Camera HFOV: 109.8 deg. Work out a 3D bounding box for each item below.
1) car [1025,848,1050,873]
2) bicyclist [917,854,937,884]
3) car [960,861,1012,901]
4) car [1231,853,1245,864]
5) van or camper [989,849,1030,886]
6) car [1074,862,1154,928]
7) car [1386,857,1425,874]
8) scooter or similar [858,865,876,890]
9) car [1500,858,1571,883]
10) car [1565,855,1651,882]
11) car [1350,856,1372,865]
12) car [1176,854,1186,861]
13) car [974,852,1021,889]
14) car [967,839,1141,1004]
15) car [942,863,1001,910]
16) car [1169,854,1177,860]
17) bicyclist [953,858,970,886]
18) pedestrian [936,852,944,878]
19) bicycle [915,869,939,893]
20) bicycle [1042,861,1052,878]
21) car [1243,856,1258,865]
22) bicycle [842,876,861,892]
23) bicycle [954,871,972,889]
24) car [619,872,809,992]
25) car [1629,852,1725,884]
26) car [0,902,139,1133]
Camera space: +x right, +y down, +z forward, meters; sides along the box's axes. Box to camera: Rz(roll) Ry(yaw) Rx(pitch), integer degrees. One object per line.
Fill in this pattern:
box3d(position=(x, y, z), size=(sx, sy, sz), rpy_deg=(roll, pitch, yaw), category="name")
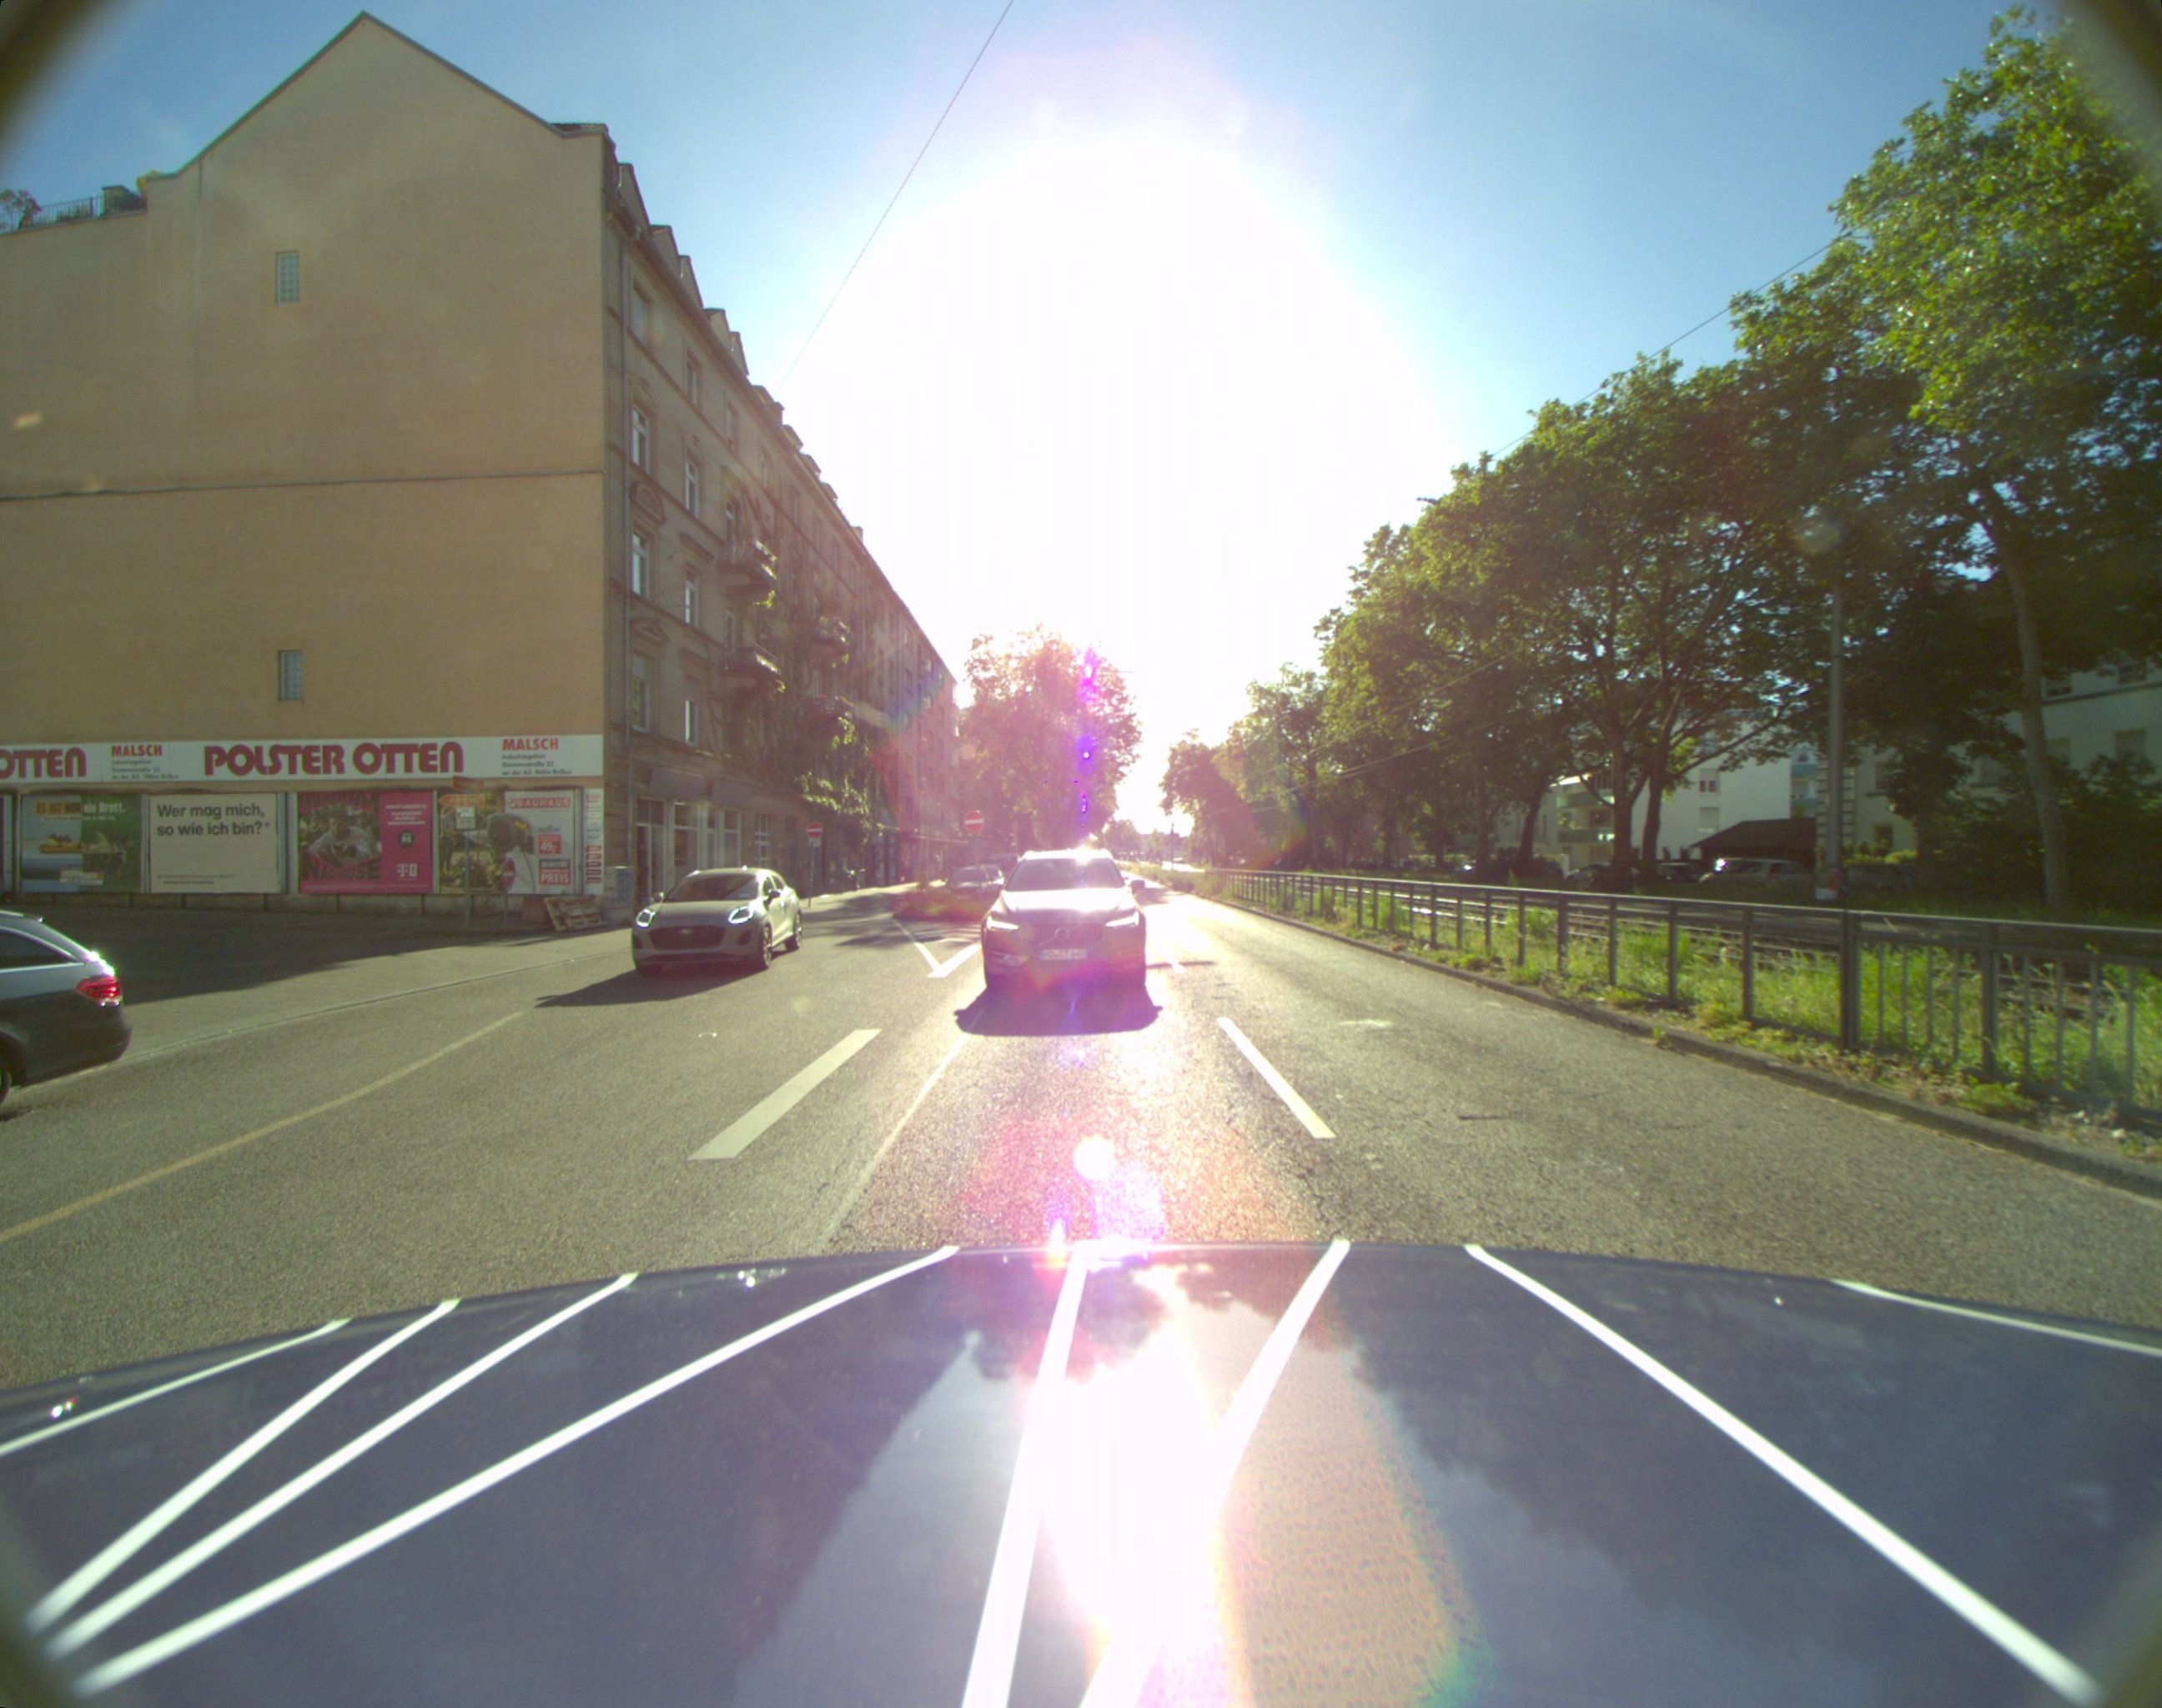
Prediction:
box3d(position=(-4.319, 0.603, 76.601), size=(2.079, 2.420, 5.856), rpy_deg=(-1, 0, 1), category="car")
box3d(position=(-7.622, 0.754, 37.677), size=(0.746, 1.453, 0.951), rpy_deg=(-1, 1, 2), category="bicyclist")
box3d(position=(-4.036, 1.130, 32.841), size=(1.743, 1.508, 3.999), rpy_deg=(-3, 0, -1), category="car")
box3d(position=(28.058, 0.828, 135.804), size=(1.998, 2.002, 4.002), rpy_deg=(-1, 0, 5), category="car")
box3d(position=(-4.021, 0.753, 43.594), size=(1.888, 2.002, 5.094), rpy_deg=(0, 0, 0), category="van or camper")
box3d(position=(0.723, 0.944, 18.989), size=(1.608, 1.445, 3.780), rpy_deg=(-1, 0, -3), category="car")
box3d(position=(28.566, 0.977, 66.984), size=(1.801, 1.464, 4.000), rpy_deg=(-1, 0, 1), category="car")
box3d(position=(-10.780, 1.165, 38.216), size=(0.638, 1.167, 1.731), rpy_deg=(0, 0, -24), category="scooter or similar")
box3d(position=(28.552, 1.008, 47.892), size=(1.998, 1.444, 4.319), rpy_deg=(0, 0, 1), category="car")
box3d(position=(28.573, 0.744, 41.398), size=(1.644, 1.316, 4.461), rpy_deg=(2, 0, 1), category="car")
box3d(position=(28.421, 0.662, 77.246), size=(1.109, 0.871, 3.060), rpy_deg=(0, 0, 1), category="car")
box3d(position=(24.939, 0.860, 188.972), size=(1.862, 1.637, 4.460), rpy_deg=(-1, 0, -1), category="car")
box3d(position=(-4.126, 0.783, 38.069), size=(1.869, 1.753, 4.000), rpy_deg=(0, 0, 1), category="car")
box3d(position=(-0.241, 0.744, 10.578), size=(1.876, 1.788, 4.633), rpy_deg=(-1, 0, 1), category="car")
box3d(position=(-4.015, 1.148, 28.390), size=(1.645, 1.508, 3.999), rpy_deg=(-3, 0, -1), category="car")
box3d(position=(27.813, 0.946, 229.298), size=(1.998, 1.697, 4.001), rpy_deg=(0, 0, 3), category="car")
box3d(position=(-6.531, 0.980, 41.596), size=(0.678, 1.437, 1.182), rpy_deg=(3, 0, 1), category="bicyclist")
box3d(position=(-10.216, 0.790, 55.143), size=(0.470, 1.822, 0.516), rpy_deg=(0, 0, 1), category="pedestrian")
box3d(position=(-7.630, 1.329, 37.731), size=(0.758, 1.095, 1.954), rpy_deg=(0, 0, 2), category="bicycle")
box3d(position=(-2.574, 1.178, 57.654), size=(0.466, 1.206, 1.751), rpy_deg=(0, 0, 4), category="bicycle")
box3d(position=(28.070, 1.123, 125.662), size=(1.771, 1.477, 3.688), rpy_deg=(-1, 0, 1), category="car")
box3d(position=(-11.015, 1.452, 36.514), size=(0.469, 0.701, 1.513), rpy_deg=(0, 0, 1), category="bicycle")
box3d(position=(-6.467, 1.423, 41.647), size=(0.651, 0.914, 1.918), rpy_deg=(-1, 0, 2), category="bicycle")
box3d(position=(-5.862, 1.128, 12.740), size=(1.703, 1.519, 4.377), rpy_deg=(-1, 0, -10), category="car")
box3d(position=(28.604, 0.642, 36.634), size=(1.779, 1.456, 3.697), rpy_deg=(0, 0, 1), category="car")
box3d(position=(-8.261, 1.112, 3.510), size=(1.837, 1.478, 4.734), rpy_deg=(2, 0, 1), category="car")
